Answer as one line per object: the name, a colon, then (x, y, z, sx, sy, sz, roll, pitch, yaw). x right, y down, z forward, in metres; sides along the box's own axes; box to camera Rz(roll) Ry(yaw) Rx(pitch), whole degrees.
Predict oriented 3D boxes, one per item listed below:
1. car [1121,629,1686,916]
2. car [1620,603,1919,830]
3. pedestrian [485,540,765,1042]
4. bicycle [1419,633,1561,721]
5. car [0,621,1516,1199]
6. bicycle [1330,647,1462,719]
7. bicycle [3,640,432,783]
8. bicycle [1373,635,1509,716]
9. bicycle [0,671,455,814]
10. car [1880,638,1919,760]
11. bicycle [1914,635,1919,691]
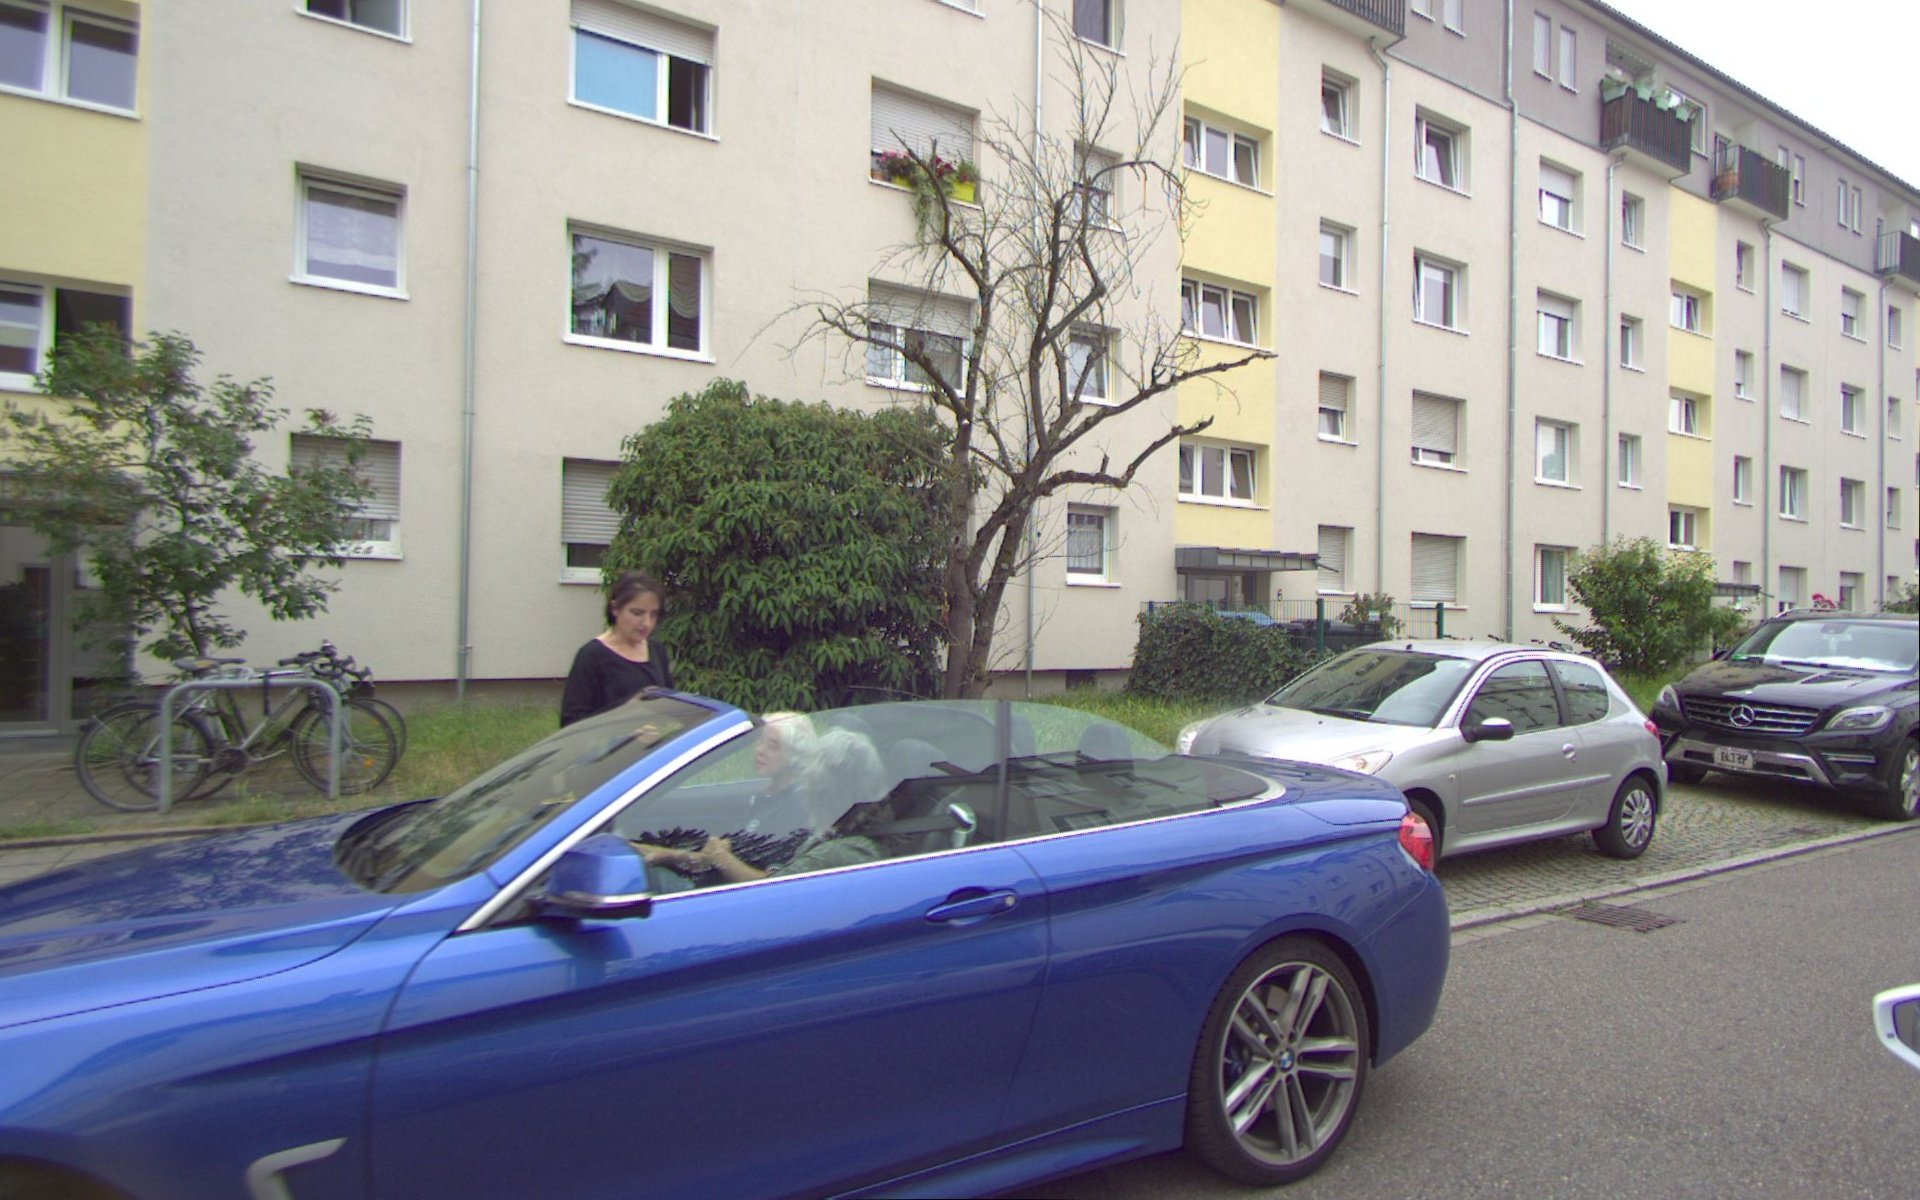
car: (3.133, 0.962, 6.969, 3.741, 1.484, 1.736, 1, -1, -30)
car: (8.791, 0.989, 10.007, 4.422, 1.763, 1.886, 1, 1, -30)
pedestrian: (-1.328, 0.672, 4.010, 0.733, 1.724, 0.792, -1, -2, 43)
bicycle: (8.021, 1.124, 15.176, 2.327, 1.228, 0.785, 1, -1, -30)
car: (-0.634, 0.833, 2.891, 4.446, 1.470, 1.837, 1, -1, -29)
bicycle: (7.252, 1.346, 16.664, 2.327, 1.095, 0.785, 1, -1, -30)
bicycle: (-5.915, 0.846, 8.282, 2.725, 1.012, 0.773, 1, -1, -31)
bicycle: (7.643, 1.168, 15.921, 2.327, 1.201, 0.785, 1, -2, -30)
bicycle: (-5.219, 0.972, 7.301, 2.725, 0.859, 0.568, 2, -2, -31)
car: (14.020, 1.288, 12.932, 4.611, 1.472, 1.886, 1, 1, -30)
bicycle: (22.177, 1.407, 22.427, 2.066, 1.227, 0.728, 1, 0, -30)
